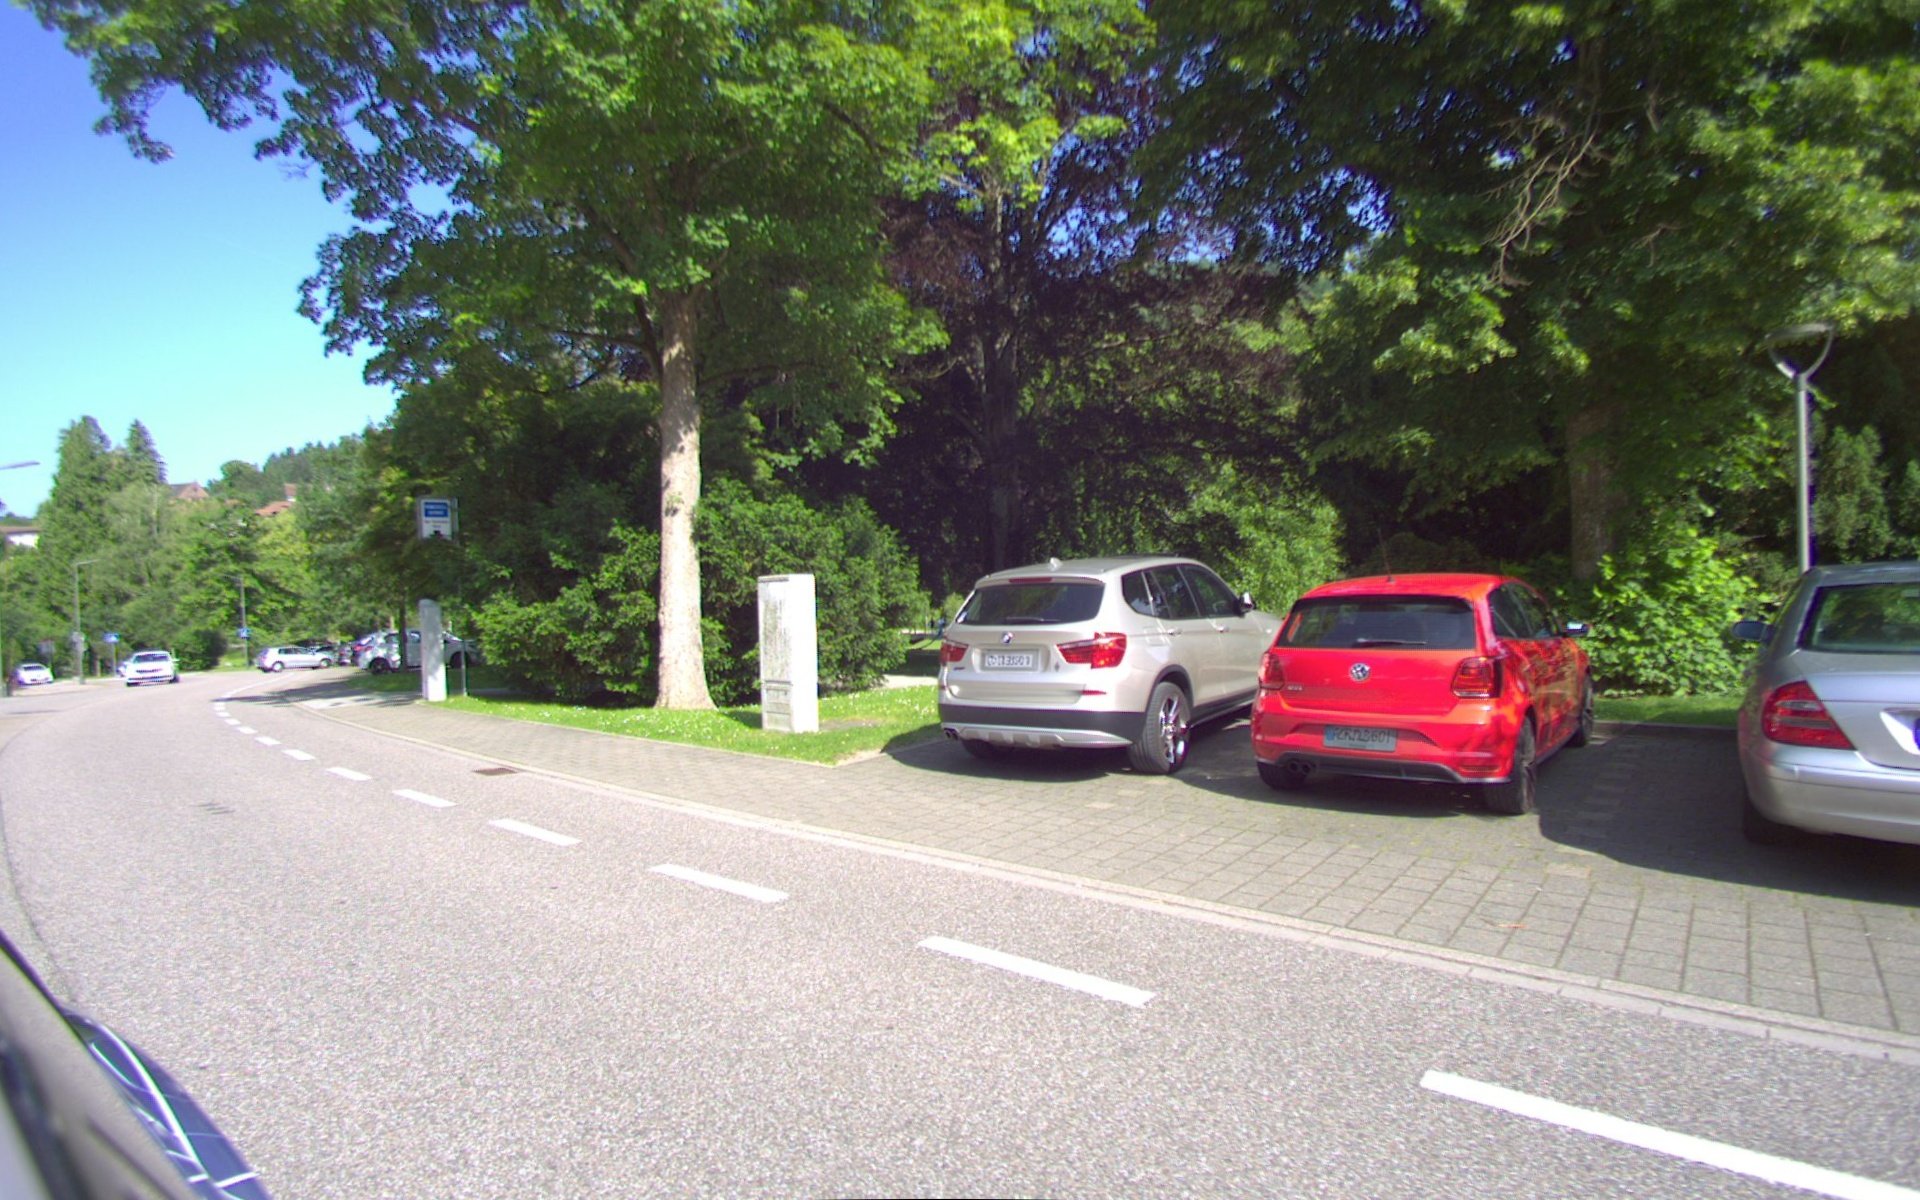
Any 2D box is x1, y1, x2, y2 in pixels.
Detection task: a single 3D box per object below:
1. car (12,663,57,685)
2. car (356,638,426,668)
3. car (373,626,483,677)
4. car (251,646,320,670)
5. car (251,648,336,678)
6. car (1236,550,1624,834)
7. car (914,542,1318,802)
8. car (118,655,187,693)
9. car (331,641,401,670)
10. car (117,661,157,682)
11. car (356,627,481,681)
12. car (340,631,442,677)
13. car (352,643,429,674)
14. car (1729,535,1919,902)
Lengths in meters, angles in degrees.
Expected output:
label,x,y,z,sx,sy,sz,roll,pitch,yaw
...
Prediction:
label,x,y,z,sx,sy,sz,roll,pitch,yaw
car,-68.126,5.401,74.489,3.993,1.408,1.720,-1,0,37
car,-33.055,3.060,58.783,3.434,1.436,1.558,-4,0,-31
car,-19.445,1.864,37.026,3.434,1.564,1.384,-4,-1,-31
car,-50.245,4.304,75.433,1.512,1.488,3.953,-5,-1,35
car,-40.104,3.769,60.985,1.515,1.408,3.948,-5,0,40
car,3.685,0.429,7.512,1.718,1.443,3.949,-1,3,39
car,1.673,0.390,9.135,1.806,1.675,4.445,-1,3,35
car,-35.404,3.200,44.447,1.712,1.508,3.941,-1,-2,-29
car,-35.389,3.292,60.346,3.434,1.436,1.558,-4,0,-31
car,-64.523,5.584,79.352,3.997,1.516,1.752,-4,-3,41
car,-18.500,1.821,34.613,3.627,1.498,1.570,-4,-1,-31
car,-22.964,2.170,40.895,3.434,1.557,1.448,-4,-1,-31
car,-29.861,3.037,53.112,3.434,1.311,1.558,-4,0,-31
car,5.572,0.381,5.661,1.806,1.428,4.445,-1,3,35
